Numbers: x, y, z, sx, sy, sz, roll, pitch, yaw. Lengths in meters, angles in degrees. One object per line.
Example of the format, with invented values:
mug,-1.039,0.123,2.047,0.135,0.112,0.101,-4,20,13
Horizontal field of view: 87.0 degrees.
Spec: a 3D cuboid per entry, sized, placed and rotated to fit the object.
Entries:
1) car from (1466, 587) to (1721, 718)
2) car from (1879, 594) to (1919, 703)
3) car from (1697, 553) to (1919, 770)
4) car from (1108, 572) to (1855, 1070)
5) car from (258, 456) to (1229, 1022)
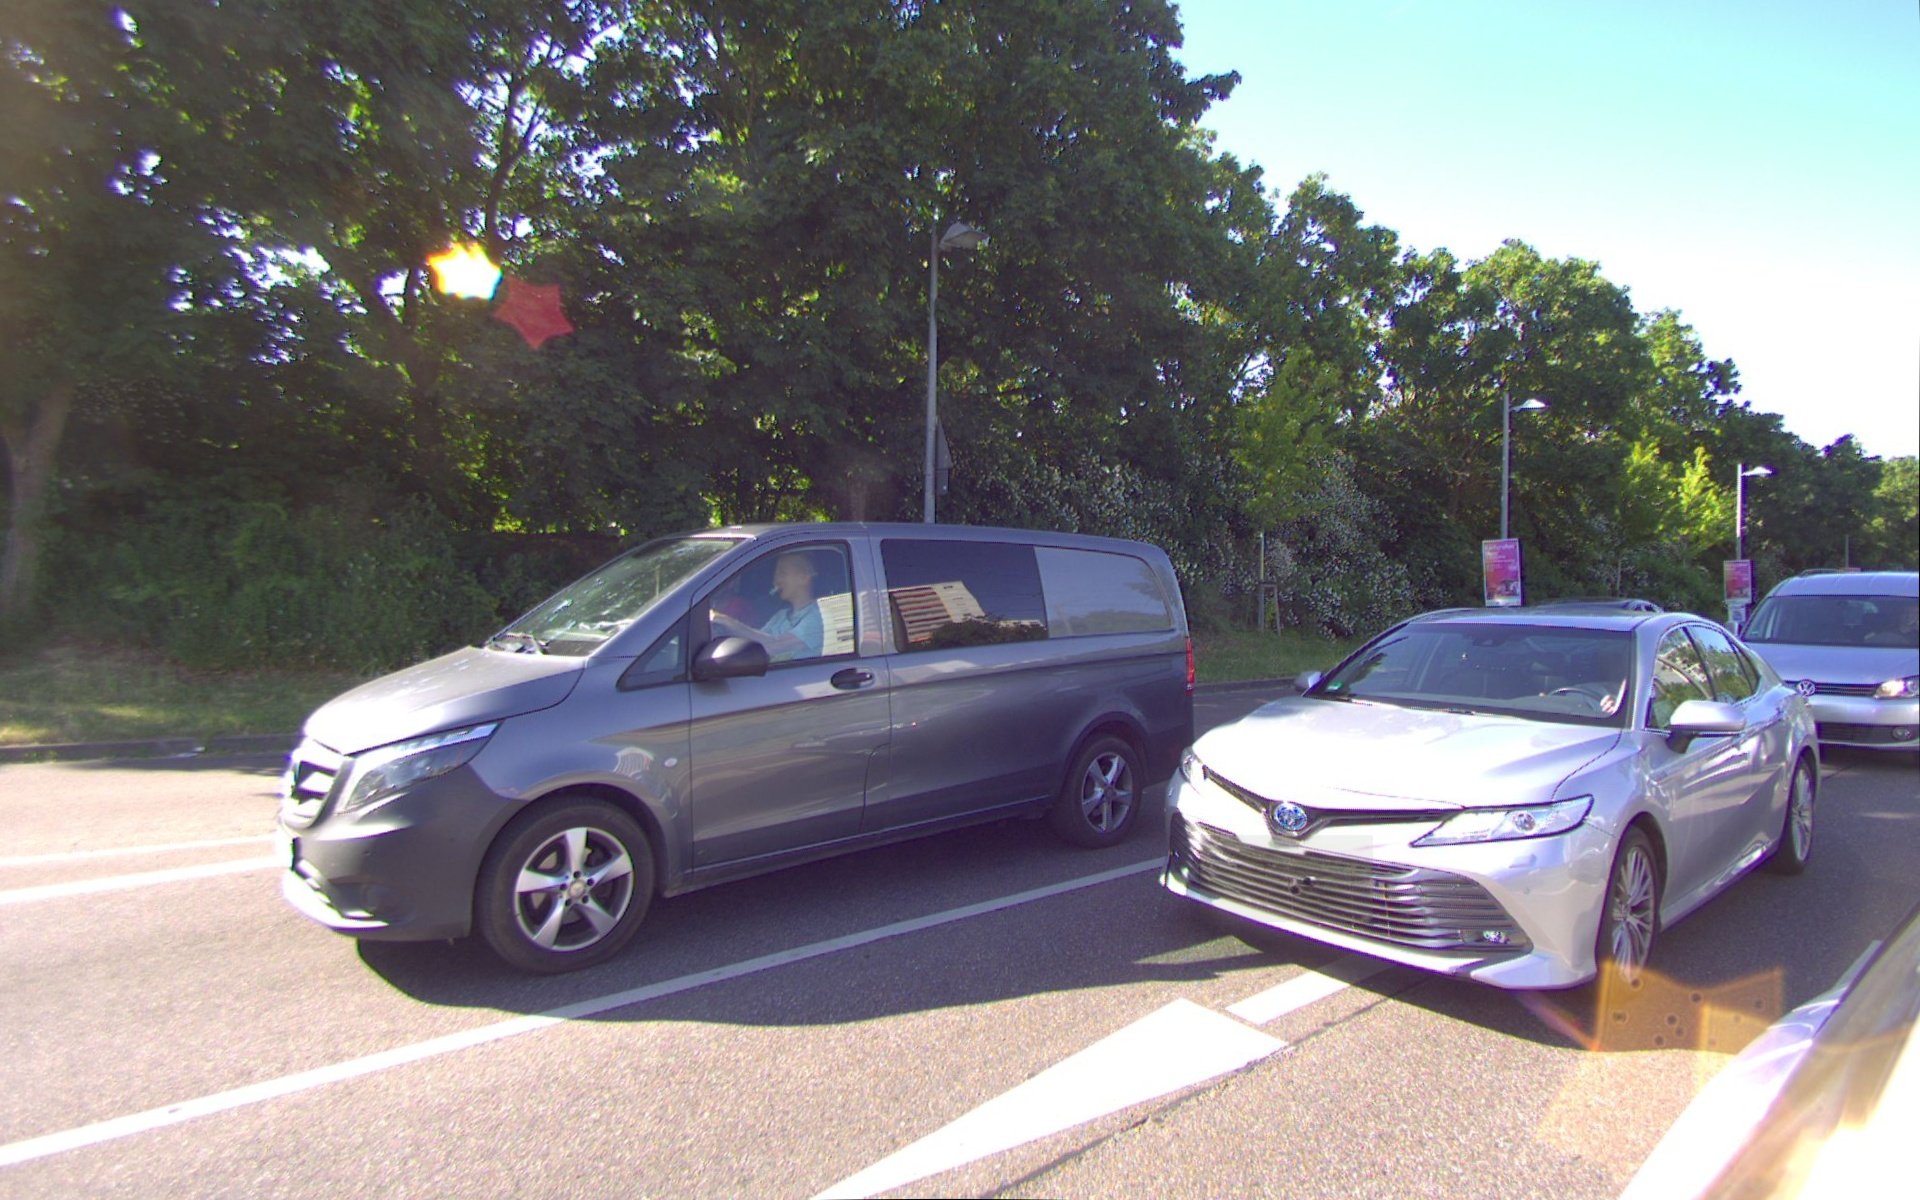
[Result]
car,8.726,0.591,13.808,4.151,1.527,1.771,-1,0,-40
car,14.846,0.682,14.790,4.126,1.472,1.715,0,1,-43
car,9.477,0.489,10.528,4.504,1.844,1.809,-1,1,-39
car,2.990,0.667,5.251,4.599,1.512,1.808,0,0,-40
car,-0.796,0.431,5.640,5.011,1.875,1.809,0,2,-39
